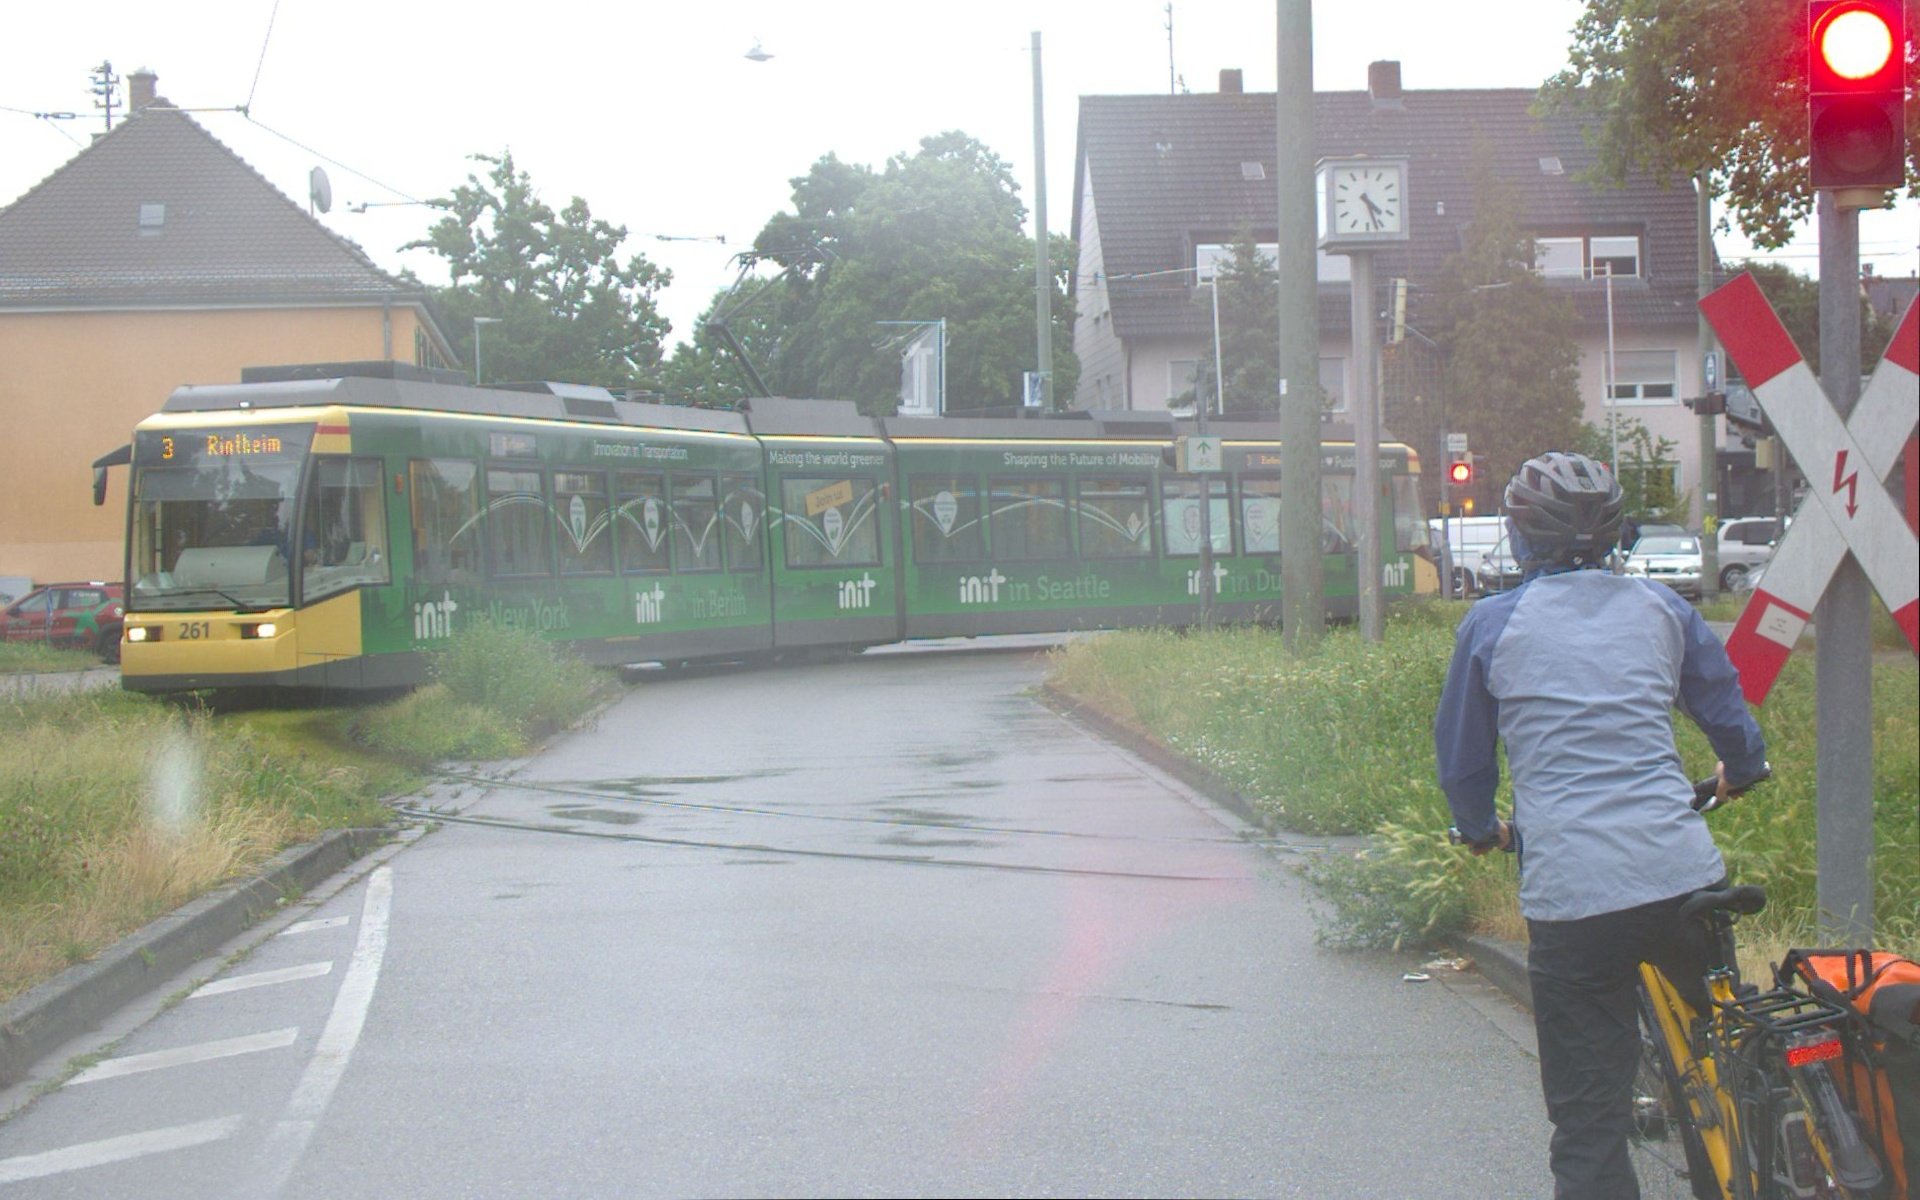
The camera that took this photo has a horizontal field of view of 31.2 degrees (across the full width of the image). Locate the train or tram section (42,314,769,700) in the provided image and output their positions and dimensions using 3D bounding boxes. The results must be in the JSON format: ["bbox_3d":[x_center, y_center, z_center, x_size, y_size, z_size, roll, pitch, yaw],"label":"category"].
[{"bbox_3d":[-5.535,-0.922,37.903,2.763,3.541,12.194,-1,1,17],"label":"train or tram section"}]

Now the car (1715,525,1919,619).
[{"bbox_3d":[16.353,-0.525,65.104,3.684,1.695,1.890,1,0,0],"label":"car"}]

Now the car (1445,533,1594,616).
[{"bbox_3d":[11.519,-0.526,70.574,1.996,1.634,3.995,1,0,25],"label":"car"}]

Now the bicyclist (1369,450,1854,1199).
[{"bbox_3d":[1.136,0.561,6.163,0.667,1.620,0.853,1,0,-2],"label":"bicyclist"}]

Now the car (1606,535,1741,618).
[{"bbox_3d":[14.749,-0.484,70.965,1.843,1.634,3.995,1,0,25],"label":"car"}]

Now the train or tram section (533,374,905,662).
[{"bbox_3d":[-3.074,-1.030,45.148,2.764,3.541,4.982,-1,1,25],"label":"train or tram section"}]

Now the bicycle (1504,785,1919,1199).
[{"bbox_3d":[1.349,0.896,6.068,0.446,1.001,1.728,-1,1,-2],"label":"bicycle"}]

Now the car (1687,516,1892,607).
[{"bbox_3d":[18.371,-0.851,76.271,3.986,1.944,2.000,1,0,-2],"label":"car"}]

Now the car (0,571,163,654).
[{"bbox_3d":[-16.668,0.211,62.594,3.986,1.451,1.834,1,0,-6],"label":"car"}]

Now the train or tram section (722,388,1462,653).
[{"bbox_3d":[2.359,-1.171,51.521,13.098,3.541,2.768,-1,1,-44],"label":"train or tram section"}]

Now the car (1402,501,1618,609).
[{"bbox_3d":[12.167,-0.995,76.232,4.395,2.317,2.000,1,0,-2],"label":"car"}]
